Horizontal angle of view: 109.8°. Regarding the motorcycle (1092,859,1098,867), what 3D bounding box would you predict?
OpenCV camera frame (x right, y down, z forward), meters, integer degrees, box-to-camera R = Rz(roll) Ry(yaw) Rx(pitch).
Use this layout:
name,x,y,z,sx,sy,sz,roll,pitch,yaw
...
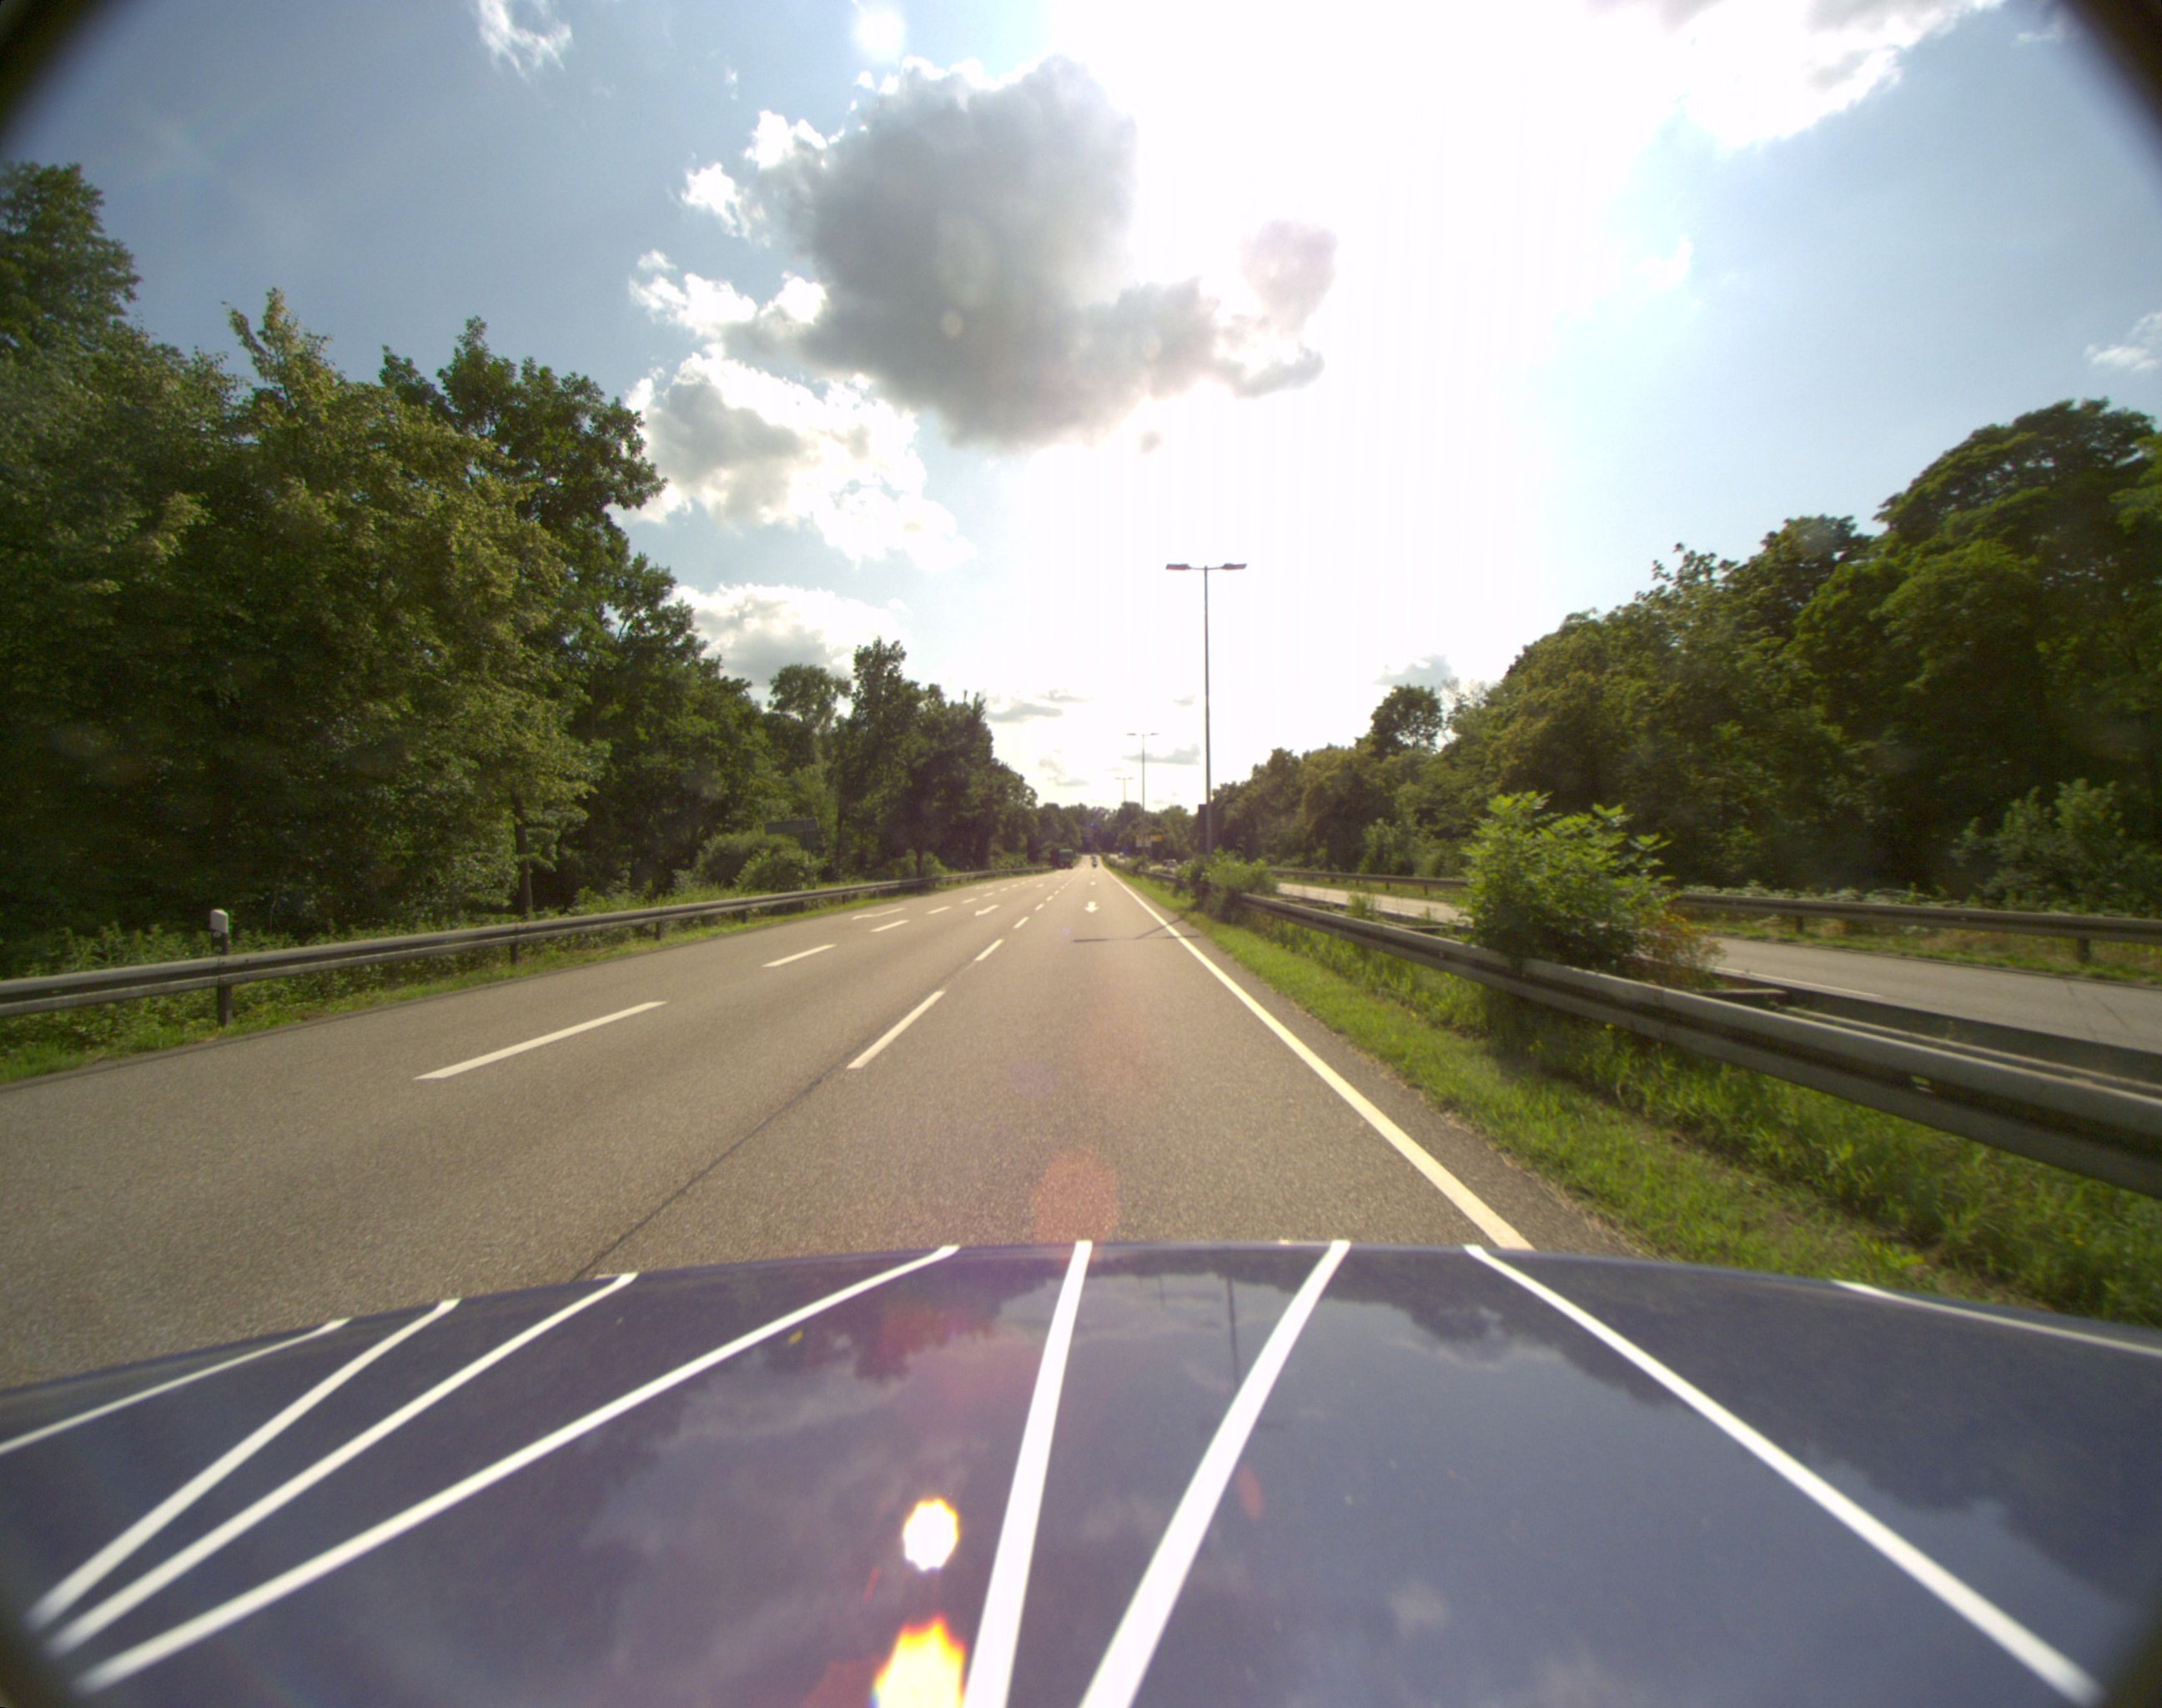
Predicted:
name,x,y,z,sx,sy,sz,roll,pitch,yaw
motorcycle,2.398,1.540,130.976,0.939,1.375,2.369,0,-1,-3

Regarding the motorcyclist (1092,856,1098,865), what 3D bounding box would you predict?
name,x,y,z,sx,sy,sz,roll,pitch,yaw
motorcyclist,2.398,1.162,130.989,0.939,1.581,1.083,0,-1,-4

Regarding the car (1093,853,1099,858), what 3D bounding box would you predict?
name,x,y,z,sx,sy,sz,roll,pitch,yaw
car,4.448,0.531,229.907,1.735,1.467,4.048,0,-1,2

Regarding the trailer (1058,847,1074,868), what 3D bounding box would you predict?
name,x,y,z,sx,sy,sz,roll,pitch,yaw
trailer,-2.954,0.754,145.461,2.592,3.870,14.500,-2,-1,-2

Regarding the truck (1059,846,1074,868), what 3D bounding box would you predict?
name,x,y,z,sx,sy,sz,roll,pitch,yaw
truck,-2.715,0.632,138.965,2.592,3.870,6.061,-2,-1,-2
